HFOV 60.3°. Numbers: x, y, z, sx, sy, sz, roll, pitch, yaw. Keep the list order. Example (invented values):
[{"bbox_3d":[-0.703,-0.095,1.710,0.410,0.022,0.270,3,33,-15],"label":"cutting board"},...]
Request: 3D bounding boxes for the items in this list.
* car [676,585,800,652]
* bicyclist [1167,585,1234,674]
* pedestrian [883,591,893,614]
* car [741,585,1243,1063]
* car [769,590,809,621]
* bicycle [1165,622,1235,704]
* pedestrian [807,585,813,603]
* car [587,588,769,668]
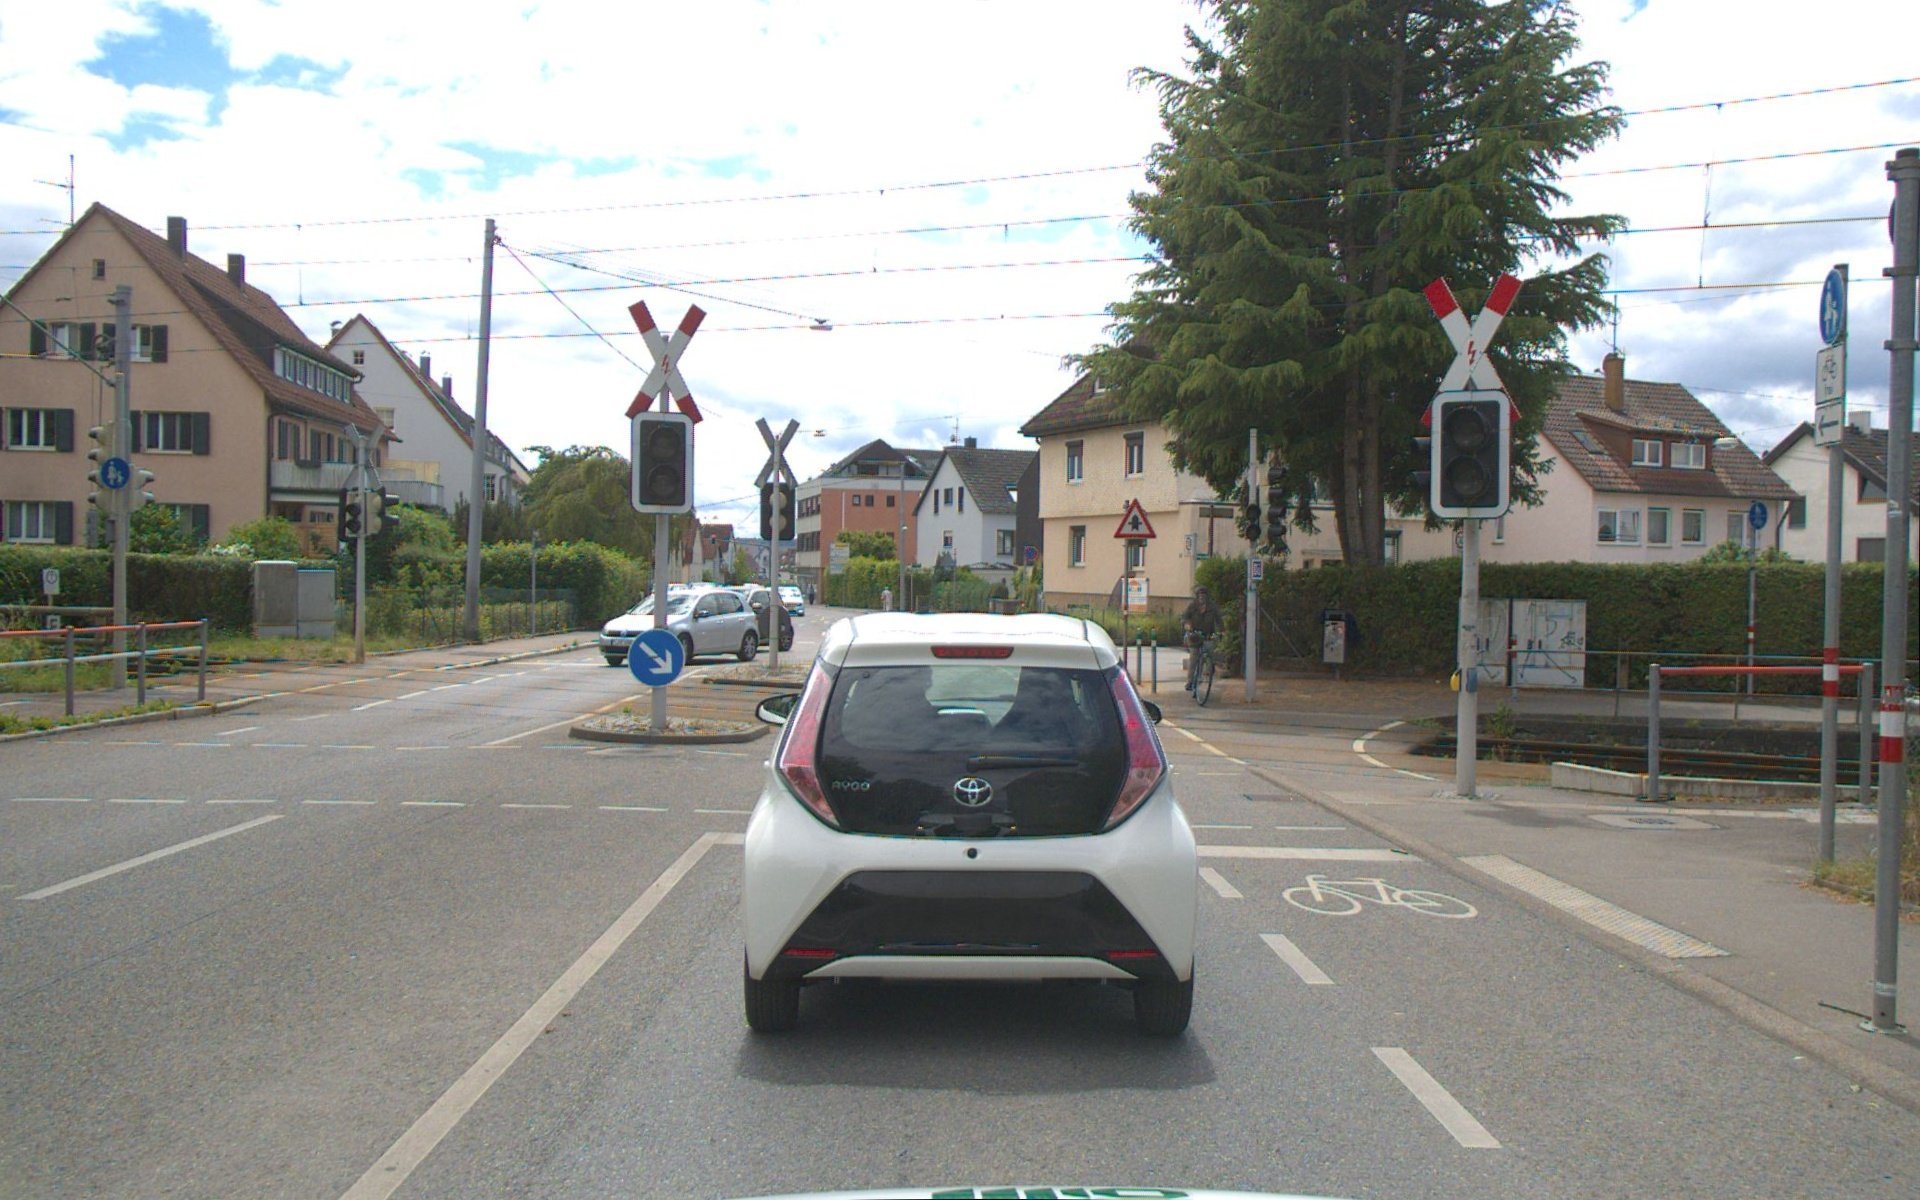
[{"bbox_3d":[-5.370,0.480,40.212,1.546,1.536,2.780,-3,-3,33],"label":"car"},{"bbox_3d":[3.669,0.437,25.176,0.912,1.269,1.103,-1,3,12],"label":"bicyclist"},{"bbox_3d":[-4.483,0.156,102.946,0.433,1.463,0.408,1,1,-40],"label":"pedestrian"},{"bbox_3d":[0.078,0.728,7.277,1.588,1.512,3.999,1,0,-1],"label":"car"},{"bbox_3d":[-9.205,0.303,88.953,1.743,1.589,4.158,1,0,-11],"label":"car"},{"bbox_3d":[3.681,0.939,25.211,0.912,1.058,1.917,-1,3,12],"label":"bicycle"},{"bbox_3d":[-12.436,-0.486,136.893,0.406,1.463,0.436,1,0,-11],"label":"pedestrian"},{"bbox_3d":[-5.643,0.521,33.534,1.654,1.484,4.067,0,1,24],"label":"car"}]
